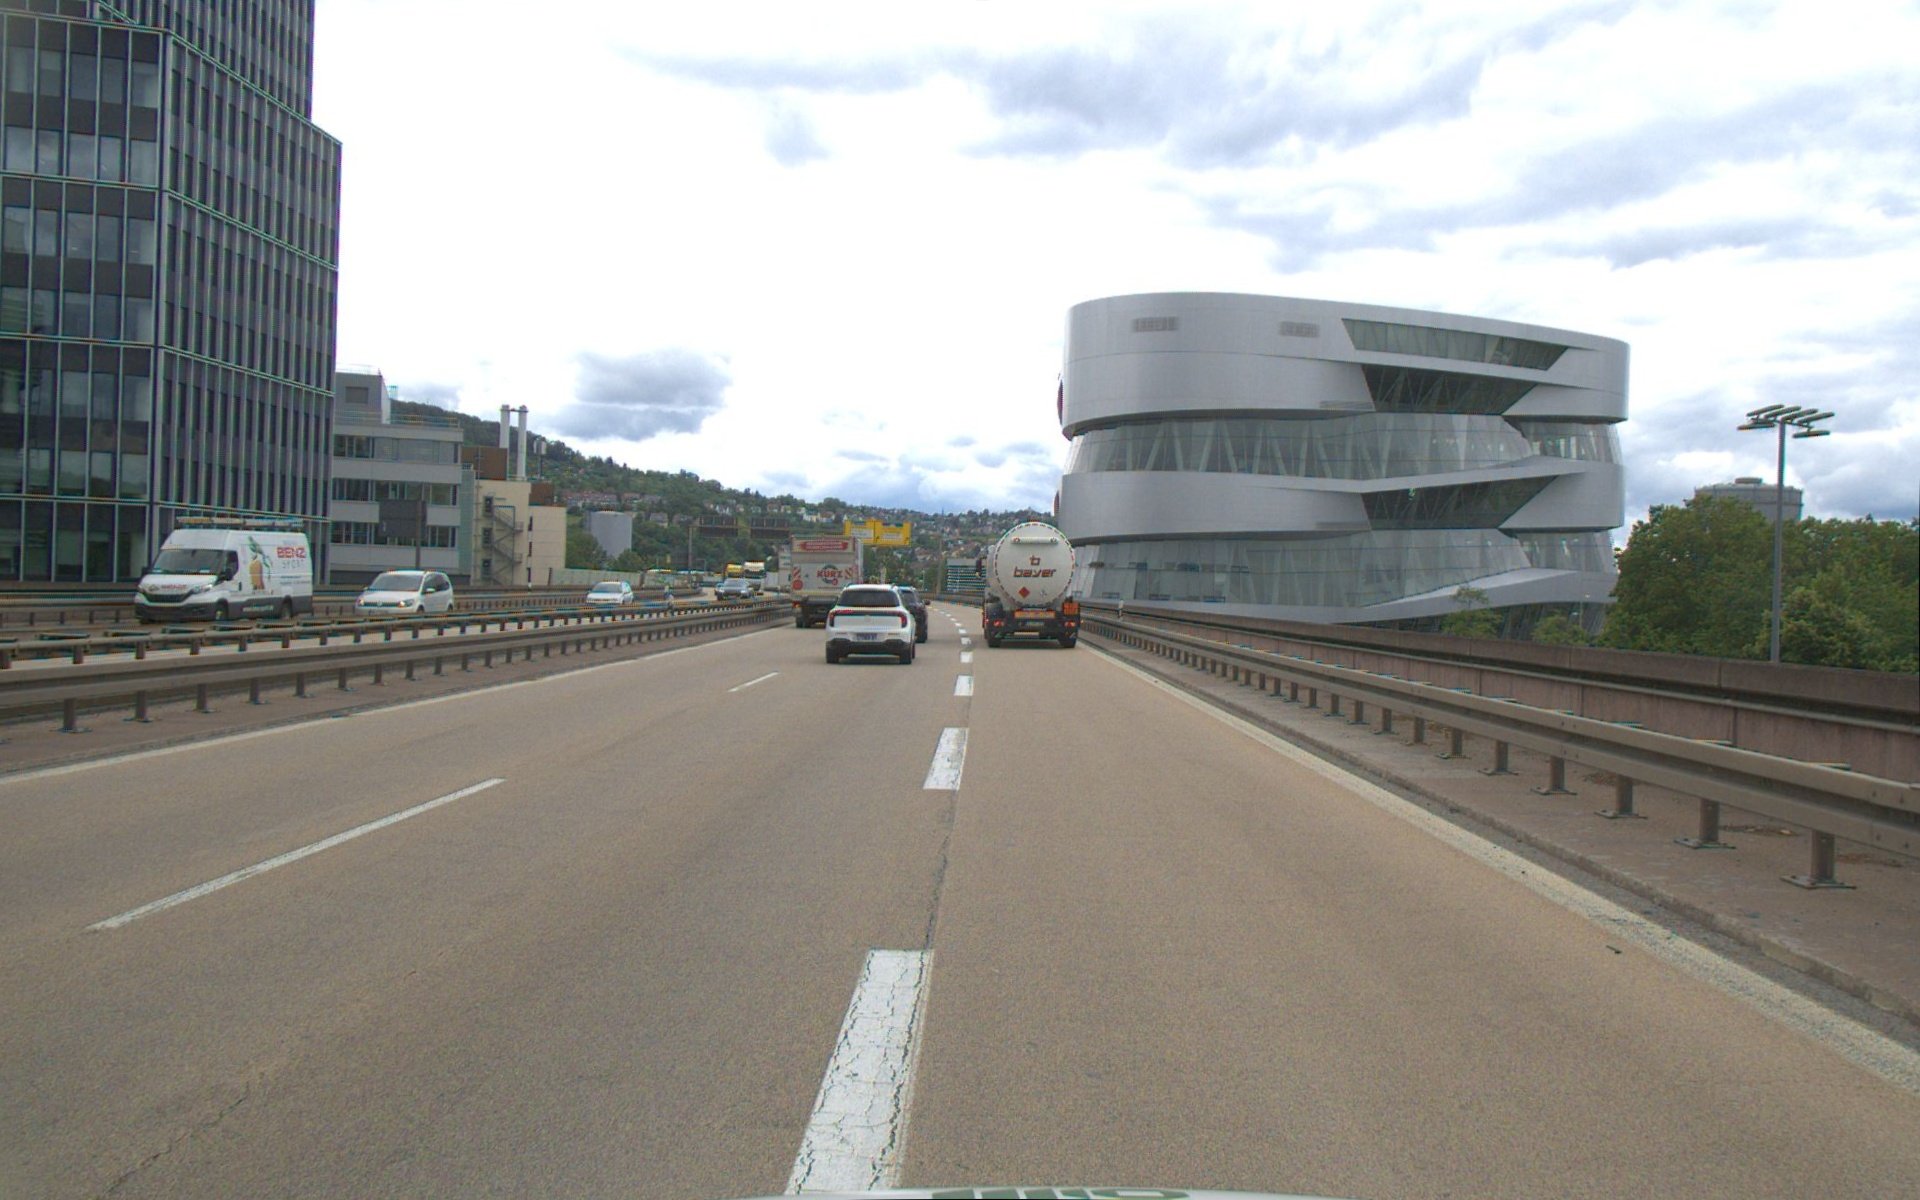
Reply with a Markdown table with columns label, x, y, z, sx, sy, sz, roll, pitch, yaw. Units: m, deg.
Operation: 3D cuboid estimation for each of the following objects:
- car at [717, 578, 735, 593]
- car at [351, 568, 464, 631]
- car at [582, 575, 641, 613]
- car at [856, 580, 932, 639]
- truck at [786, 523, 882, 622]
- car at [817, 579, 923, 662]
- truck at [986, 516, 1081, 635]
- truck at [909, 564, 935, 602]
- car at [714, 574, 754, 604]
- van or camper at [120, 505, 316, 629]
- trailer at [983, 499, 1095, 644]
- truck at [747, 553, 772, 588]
| label | x | y | z | sx | sy | sz | roll | pitch | yaw |
| --- | --- | --- | --- | --- | --- | --- | --- | --- | --- |
| car | -27.474 | -1.740 | 194.040 | 1.649 | 1.679 | 4.357 | 2 | 0 | -3 |
| car | -15.712 | 0.002 | 47.239 | 1.648 | 1.679 | 4.313 | 2 | 0 | 1 |
| car | -16.138 | -0.255 | 76.839 | 1.648 | 1.679 | 4.449 | 2 | 0 | 1 |
| car | -1.955 | 0.283 | 50.197 | 1.952 | 1.704 | 4.409 | 1 | 0 | 2 |
| truck | -5.050 | -1.053 | 67.643 | 2.993 | 3.755 | 8.305 | 1 | 0 | 2 |
| car | -1.926 | 0.440 | 36.558 | 1.952 | 1.704 | 4.409 | 1 | 0 | 2 |
| truck | 2.389 | -0.747 | 55.257 | 2.952 | 3.721 | 6.274 | 1 | 0 | 1 |
| truck | -4.838 | -2.099 | 209.749 | 2.996 | 4.642 | 8.297 | 1 | 0 | -4 |
| car | -13.720 | -0.655 | 100.668 | 1.726 | 1.679 | 4.335 | 3 | 0 | 1 |
| van or camper | -19.746 | -0.839 | 44.509 | 2.127 | 3.061 | 7.116 | 1 | 0 | -1 |
| trailer | 2.259 | -0.753 | 48.603 | 2.993 | 3.856 | 8.305 | 1 | 0 | 2 |
| truck | -24.708 | -3.624 | 204.129 | 2.717 | 4.151 | 5.642 | 1 | 0 | -3 |
